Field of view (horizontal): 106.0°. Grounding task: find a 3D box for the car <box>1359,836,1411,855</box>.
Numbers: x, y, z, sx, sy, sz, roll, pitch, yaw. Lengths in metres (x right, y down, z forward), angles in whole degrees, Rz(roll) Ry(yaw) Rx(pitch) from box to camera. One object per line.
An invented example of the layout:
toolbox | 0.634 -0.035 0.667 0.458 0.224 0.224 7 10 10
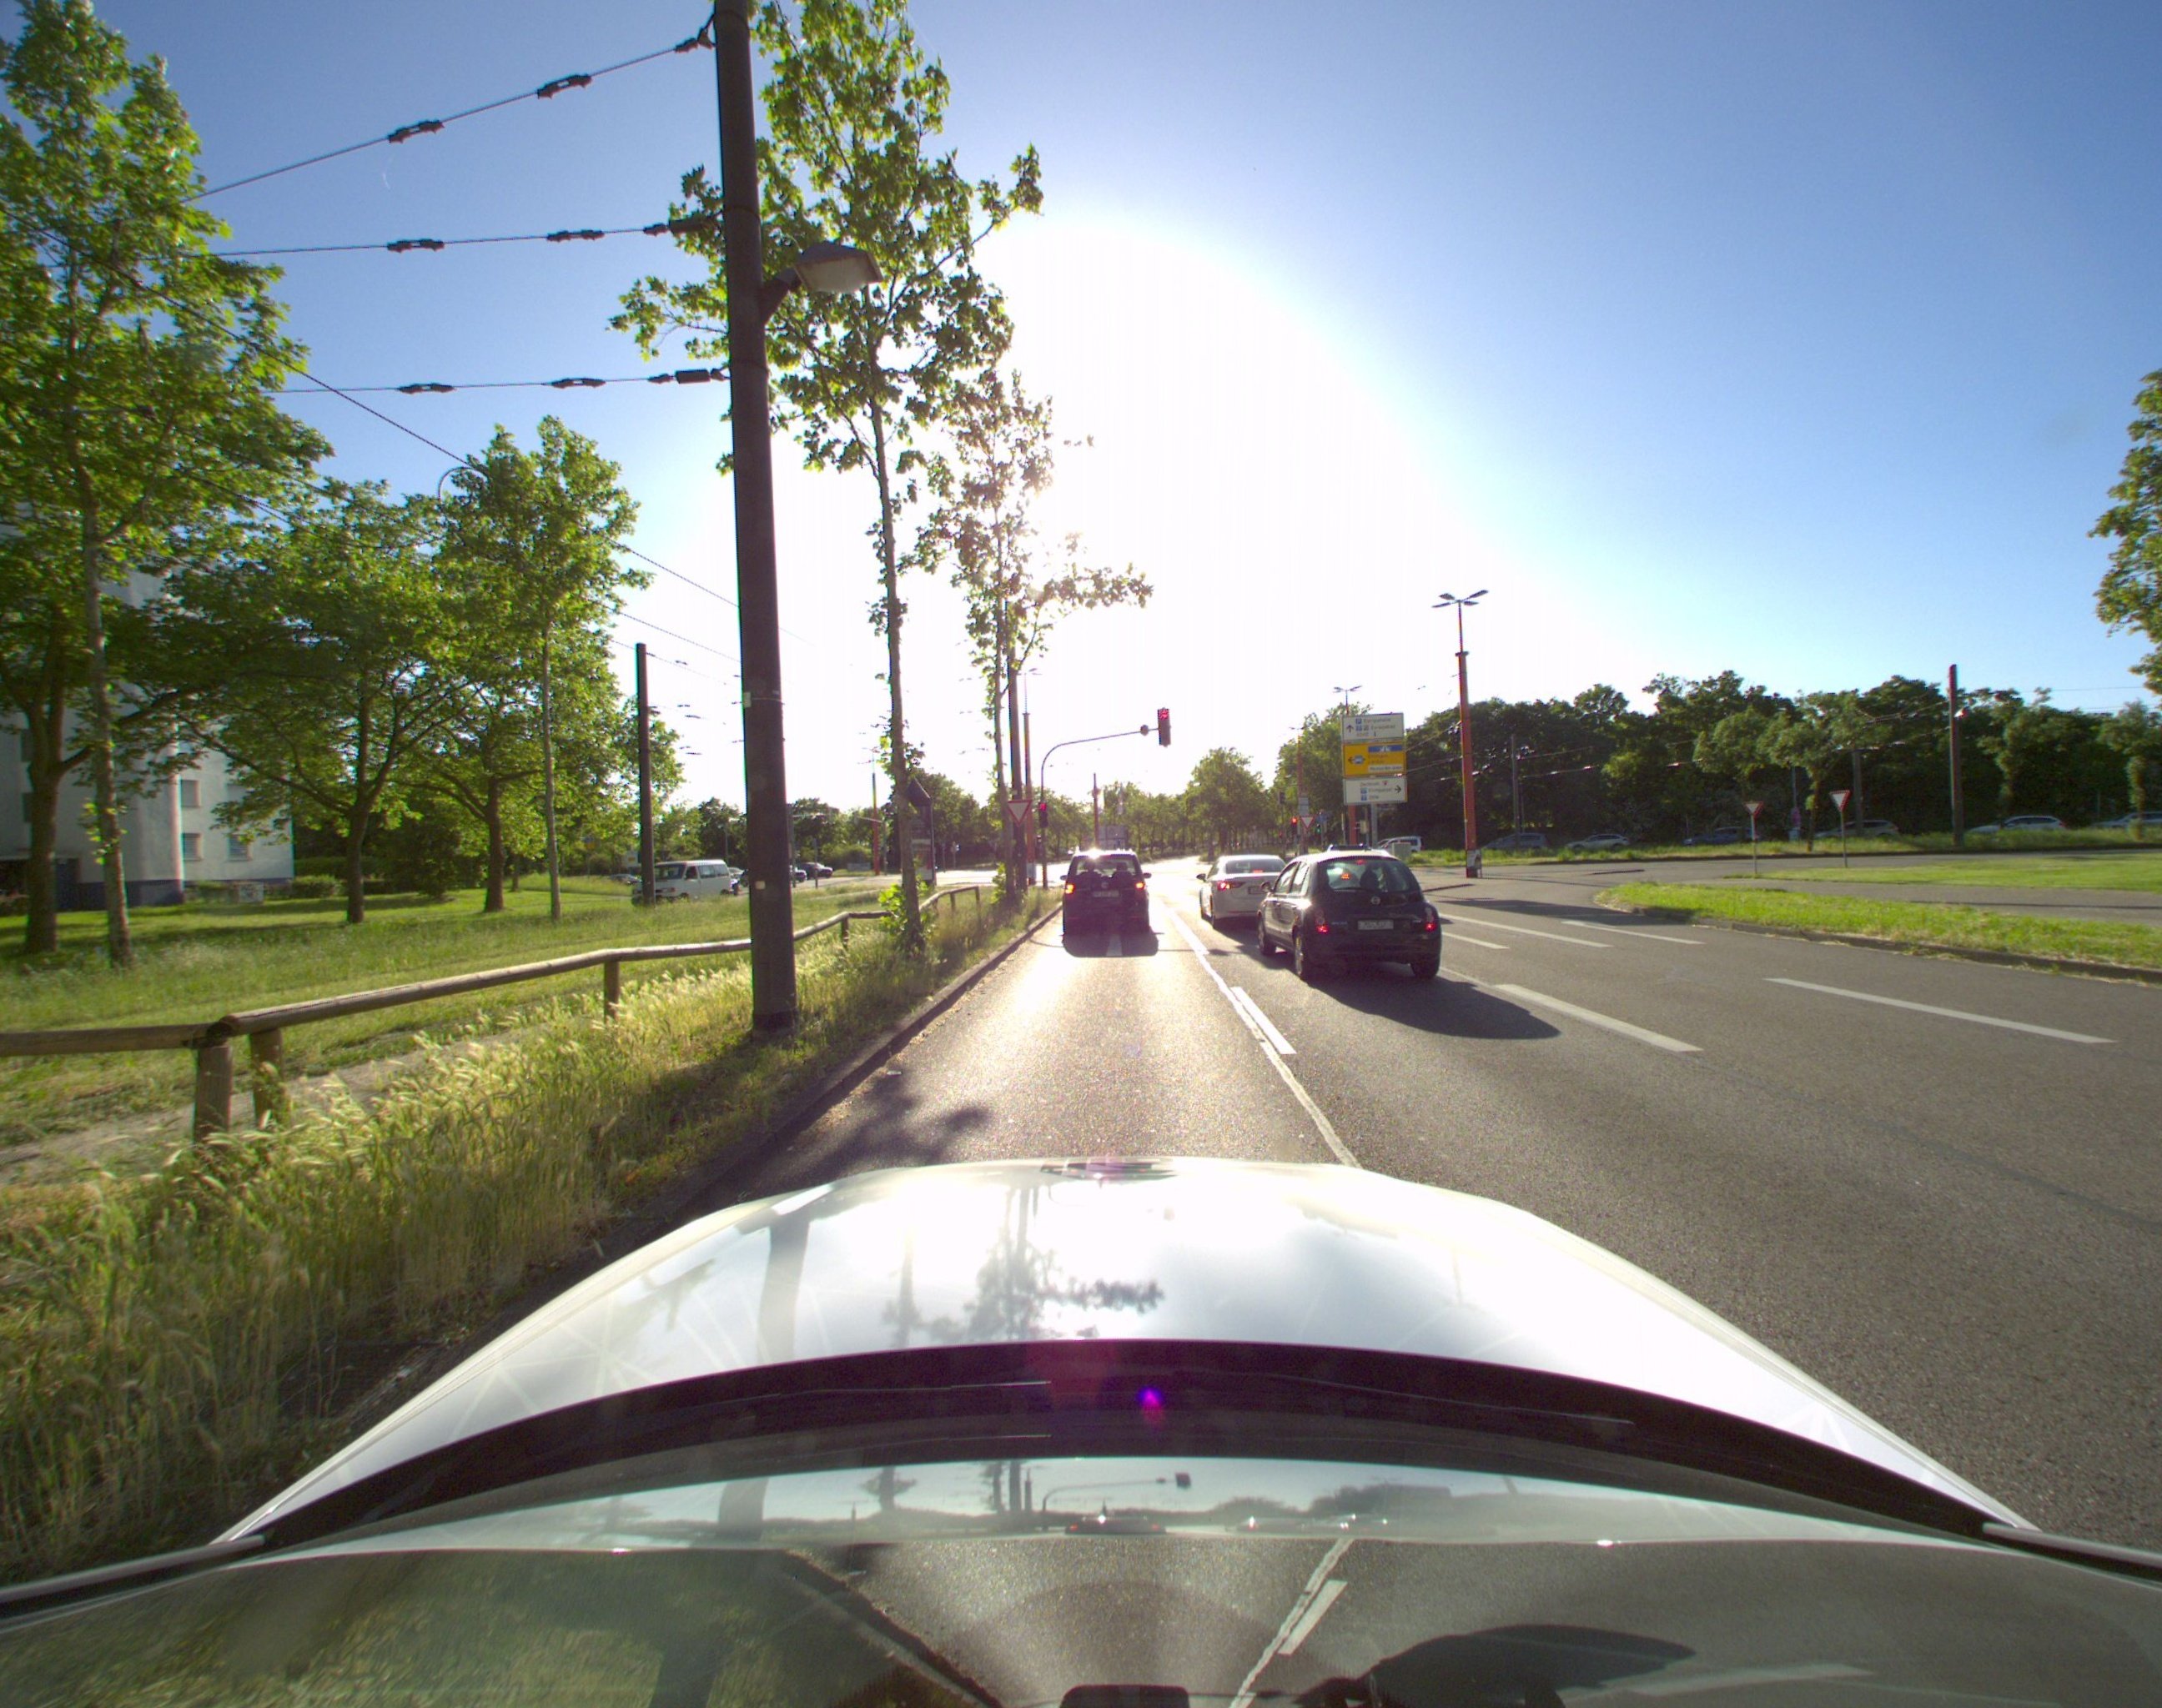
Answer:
car | 25.803 -0.717 69.171 3.949 1.476 1.800 -1 -1 28

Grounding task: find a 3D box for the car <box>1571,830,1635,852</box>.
car | 39.354 -0.971 61.520 3.949 1.495 1.872 -1 -1 29

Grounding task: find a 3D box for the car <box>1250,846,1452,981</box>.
car | 3.434 0.672 11.009 1.633 1.494 3.504 -1 0 2

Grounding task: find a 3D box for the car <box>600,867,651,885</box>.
car | -44.857 2.176 80.213 4.447 1.610 1.910 -2 2 21

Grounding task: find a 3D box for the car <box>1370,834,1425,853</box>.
car | 25.578 -0.833 65.855 3.949 1.338 1.739 -1 -1 28

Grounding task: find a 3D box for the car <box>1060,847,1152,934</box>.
car | 0.529 0.701 17.133 1.704 1.603 3.351 -1 0 2

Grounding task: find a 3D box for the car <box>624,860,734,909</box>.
car | -16.056 1.165 32.839 1.814 1.780 4.574 -1 0 5

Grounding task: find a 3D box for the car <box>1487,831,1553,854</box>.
car | 33.113 -0.848 61.530 4.310 1.559 1.883 -1 -1 27

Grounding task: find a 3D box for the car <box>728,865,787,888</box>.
car | -27.637 1.937 69.530 4.447 1.610 1.910 -3 2 21

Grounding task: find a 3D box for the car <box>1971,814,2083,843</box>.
car | 56.522 -1.482 48.778 3.949 1.581 1.884 -1 -1 30

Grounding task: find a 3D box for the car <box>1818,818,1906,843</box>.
car | 52.732 -1.566 55.073 3.949 1.528 1.871 -1 -1 29

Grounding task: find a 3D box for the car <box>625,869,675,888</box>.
car | -40.252 2.315 76.122 4.000 1.436 1.825 -3 2 21

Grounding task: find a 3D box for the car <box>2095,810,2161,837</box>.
car | 63.514 -1.827 48.187 3.948 1.486 1.903 -1 -1 31

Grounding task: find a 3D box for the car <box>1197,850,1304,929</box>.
car | 3.518 0.694 17.603 1.671 1.475 4.134 -1 0 4

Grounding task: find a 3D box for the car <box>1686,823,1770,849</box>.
car | 44.122 -1.188 55.656 4.220 1.627 1.941 -1 -1 29

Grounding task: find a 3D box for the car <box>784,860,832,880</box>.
car | -26.648 1.540 79.501 3.953 1.620 1.910 -3 2 21

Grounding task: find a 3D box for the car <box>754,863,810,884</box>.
car | -26.689 1.755 72.756 4.447 1.610 1.910 -3 2 21

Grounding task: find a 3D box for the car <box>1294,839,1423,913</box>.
car | 6.995 0.490 21.067 1.886 1.632 4.503 -2 0 2
